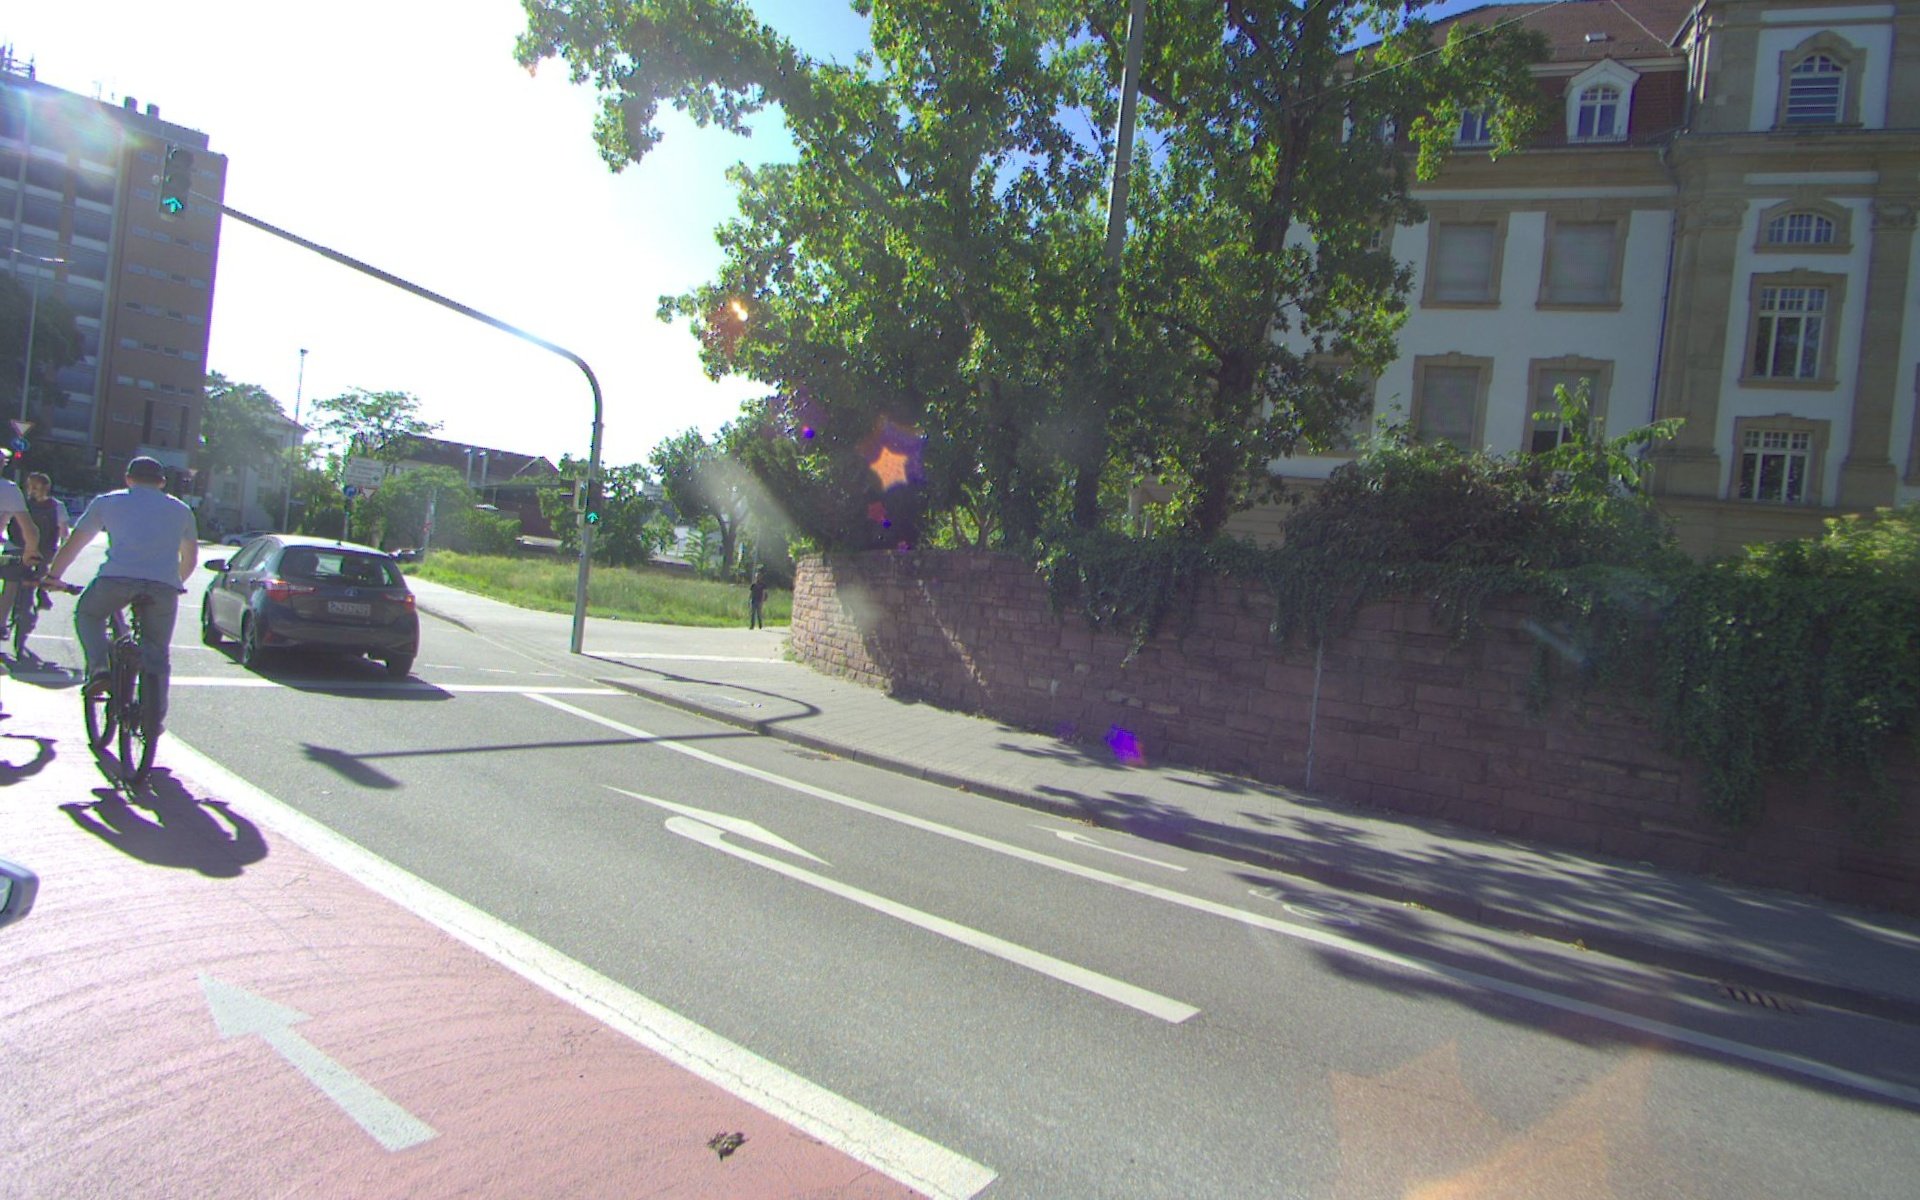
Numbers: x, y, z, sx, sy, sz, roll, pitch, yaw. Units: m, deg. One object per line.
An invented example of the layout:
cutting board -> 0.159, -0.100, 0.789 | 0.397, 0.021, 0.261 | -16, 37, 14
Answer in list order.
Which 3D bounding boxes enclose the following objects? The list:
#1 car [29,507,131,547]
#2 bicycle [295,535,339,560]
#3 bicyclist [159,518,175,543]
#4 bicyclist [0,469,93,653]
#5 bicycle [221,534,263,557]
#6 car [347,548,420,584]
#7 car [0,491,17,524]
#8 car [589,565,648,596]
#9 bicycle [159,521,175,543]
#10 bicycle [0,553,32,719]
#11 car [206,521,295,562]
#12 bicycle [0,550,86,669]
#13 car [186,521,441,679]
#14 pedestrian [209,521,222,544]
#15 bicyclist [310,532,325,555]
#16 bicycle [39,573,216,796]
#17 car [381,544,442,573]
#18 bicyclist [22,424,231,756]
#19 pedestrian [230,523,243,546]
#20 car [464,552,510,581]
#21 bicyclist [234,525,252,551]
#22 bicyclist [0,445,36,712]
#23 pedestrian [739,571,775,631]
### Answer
car -> -58.688, -4.844, 67.185 | 4.607, 1.922, 1.989 | 7, -2, -25
bicycle -> -51.179, -4.161, 80.117 | 2.785, 1.559, 0.876 | 7, -2, -35
bicyclist -> -62.919, -5.529, 79.817 | 0.877, 1.818, 1.149 | 7, -2, -39
bicyclist -> -9.087, -0.387, 9.826 | 1.041, 1.645, 0.720 | 7, -1, 45
bicycle -> -55.781, -4.231, 78.198 | 2.431, 1.386, 0.845 | 7, -2, -29
car -> -41.611, -2.400, 72.686 | 4.336, 2.037, 1.987 | 7, -2, -29
car -> -48.803, -4.712, 49.412 | 1.795, 1.589, 4.235 | 5, 1, -16
car -> -28.668, -1.645, 84.539 | 4.312, 2.037, 1.987 | 7, -2, -28
bicycle -> -62.945, -5.354, 79.816 | 0.877, 1.559, 2.782 | 7, -2, -39
bicycle -> -6.875, 0.228, 6.816 | 0.659, 1.060, 1.869 | 6, 1, -39
car -> -48.582, -3.972, 69.026 | 4.613, 2.037, 1.987 | 7, -2, -29
bicycle -> -9.229, 0.053, 9.907 | 1.860, 0.971, 0.721 | 6, -2, 45
car -> -8.056, -0.048, 12.416 | 3.611, 1.559, 1.753 | 5, -2, 44
pedestrian -> -56.162, -5.090, 75.902 | 0.554, 1.689, 0.474 | 6, -1, -23
bicyclist -> -51.151, -4.519, 80.115 | 0.853, 1.712, 0.876 | 7, -1, -34
bicycle -> -5.099, 0.453, 6.113 | 0.609, 1.090, 1.807 | 7, -1, -44
car -> -41.724, -3.137, 76.632 | 3.860, 1.604, 1.869 | 7, -2, -26
bicyclist -> -5.015, -0.050, 6.039 | 0.747, 1.797, 1.001 | 7, 0, -44
pedestrian -> -54.037, -4.889, 75.107 | 0.550, 1.689, 0.474 | 6, -1, -23
car -> -39.707, -2.804, 84.522 | 1.872, 1.957, 3.864 | 6, -2, 0
bicyclist -> -55.724, -4.819, 78.196 | 0.849, 1.868, 0.845 | 6, -1, -29
bicyclist -> -6.834, -0.188, 6.819 | 0.660, 1.769, 0.994 | 6, 1, -39
pedestrian -> -6.636, 0.042, 32.918 | 0.746, 1.855, 1.049 | 6, 1, 3
